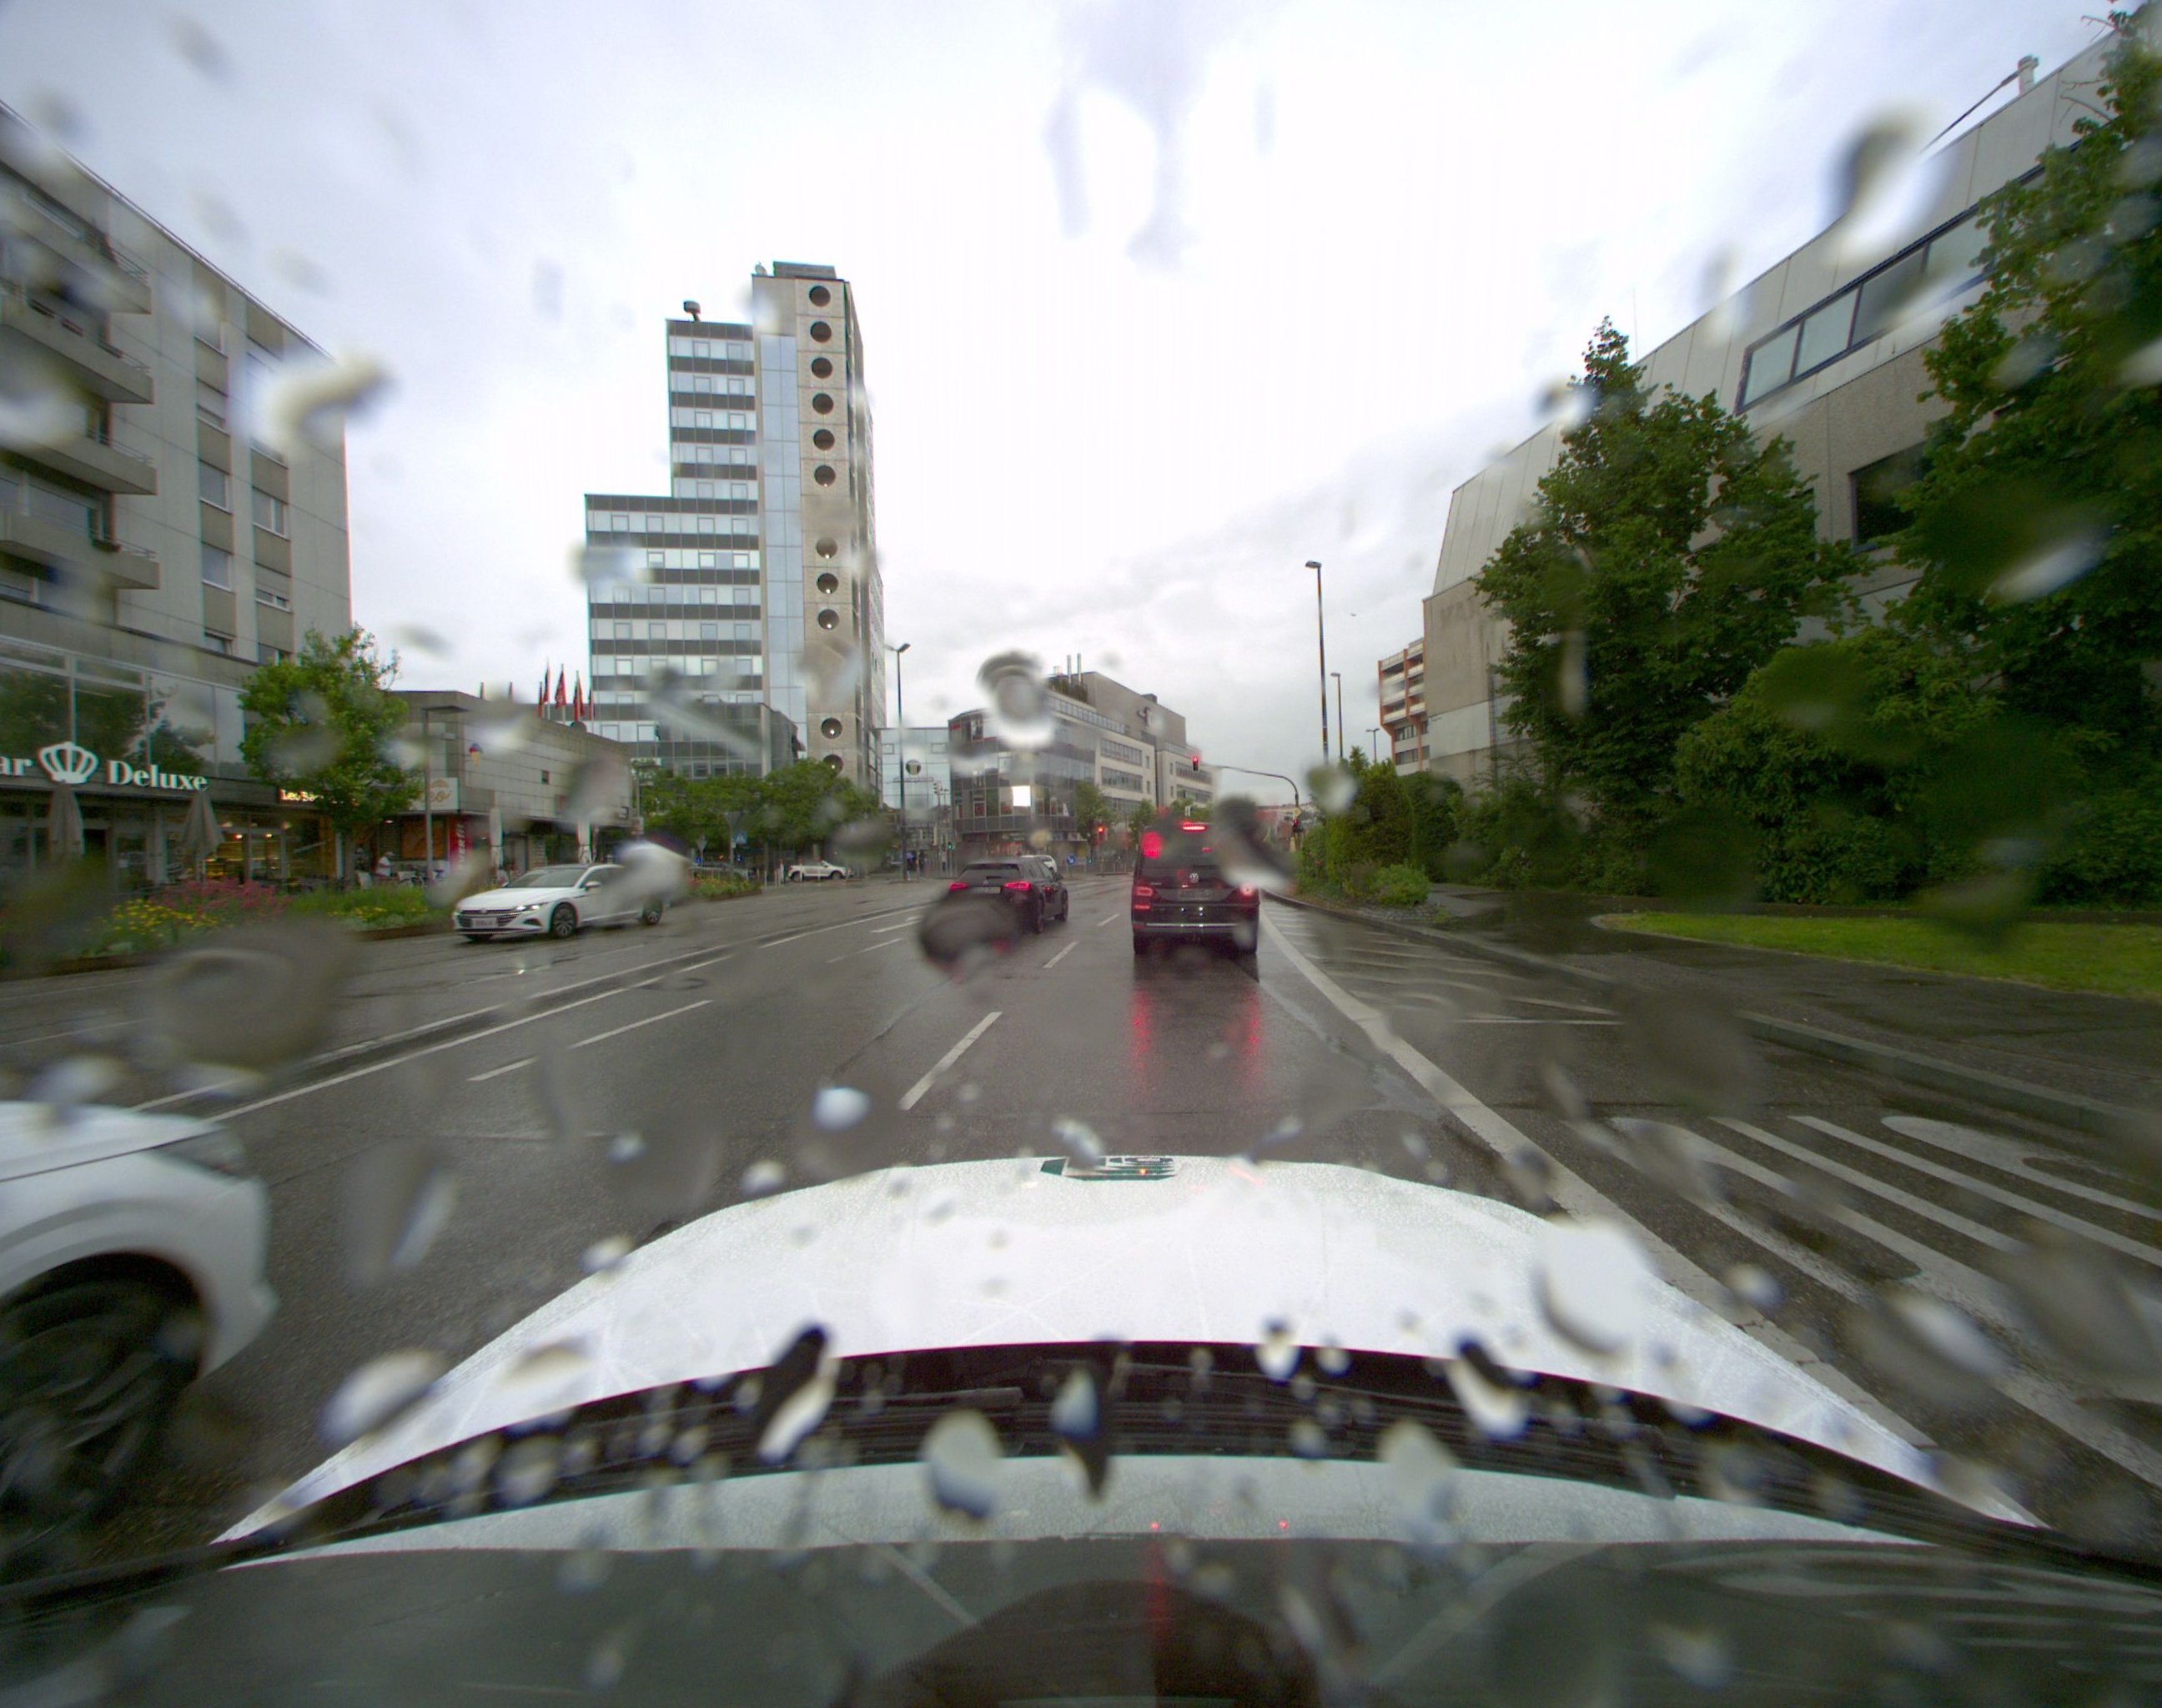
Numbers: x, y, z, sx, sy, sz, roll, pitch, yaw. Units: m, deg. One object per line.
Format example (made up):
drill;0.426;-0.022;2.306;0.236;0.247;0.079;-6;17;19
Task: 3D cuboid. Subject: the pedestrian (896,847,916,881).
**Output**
pedestrian;-10.901;0.617;50.745;1.164;2.013;1.322;-1;0;-15

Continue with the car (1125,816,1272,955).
car;1.939;0.454;13.543;1.984;1.894;4.597;-1;0;8

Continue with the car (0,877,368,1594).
car;-3.167;0.822;0.614;1.866;1.462;3.871;-1;0;-1

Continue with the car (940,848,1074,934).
car;-1.378;0.668;16.665;1.805;1.530;3.822;-1;0;9

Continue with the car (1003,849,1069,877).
car;-2.775;0.552;51.128;1.867;1.682;4.534;-1;0;31

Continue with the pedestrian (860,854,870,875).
pedestrian;-21.287;1.012;80.254;0.763;2.013;0.712;-1;0;-10

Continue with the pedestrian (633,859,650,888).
pedestrian;-21.019;0.917;38.949;0.491;1.347;0.540;-1;0;28

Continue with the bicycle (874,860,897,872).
bicycle;-20.760;1.276;86.529;2.273;1.247;0.674;-2;-1;-10

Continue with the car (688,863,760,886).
car;-24.431;1.390;55.871;4.034;1.420;1.869;-1;0;-2

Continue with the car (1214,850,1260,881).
car;7.794;0.557;40.428;1.897;1.400;3.472;-2;-1;16

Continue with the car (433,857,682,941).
car;-10.603;0.816;17.055;1.834;1.460;4.814;-1;0;4

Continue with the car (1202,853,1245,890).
car;6.112;0.692;34.677;1.623;1.448;4.283;-1;0;12

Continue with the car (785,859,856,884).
car;-17.769;1.204;55.662;4.182;1.595;1.868;-1;0;-3

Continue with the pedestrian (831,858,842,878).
pedestrian;-23.761;1.341;79.187;0.757;1.868;0.824;-2;-1;-35

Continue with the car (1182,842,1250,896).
car;4.579;0.453;27.155;1.888;1.621;4.351;-1;0;13
